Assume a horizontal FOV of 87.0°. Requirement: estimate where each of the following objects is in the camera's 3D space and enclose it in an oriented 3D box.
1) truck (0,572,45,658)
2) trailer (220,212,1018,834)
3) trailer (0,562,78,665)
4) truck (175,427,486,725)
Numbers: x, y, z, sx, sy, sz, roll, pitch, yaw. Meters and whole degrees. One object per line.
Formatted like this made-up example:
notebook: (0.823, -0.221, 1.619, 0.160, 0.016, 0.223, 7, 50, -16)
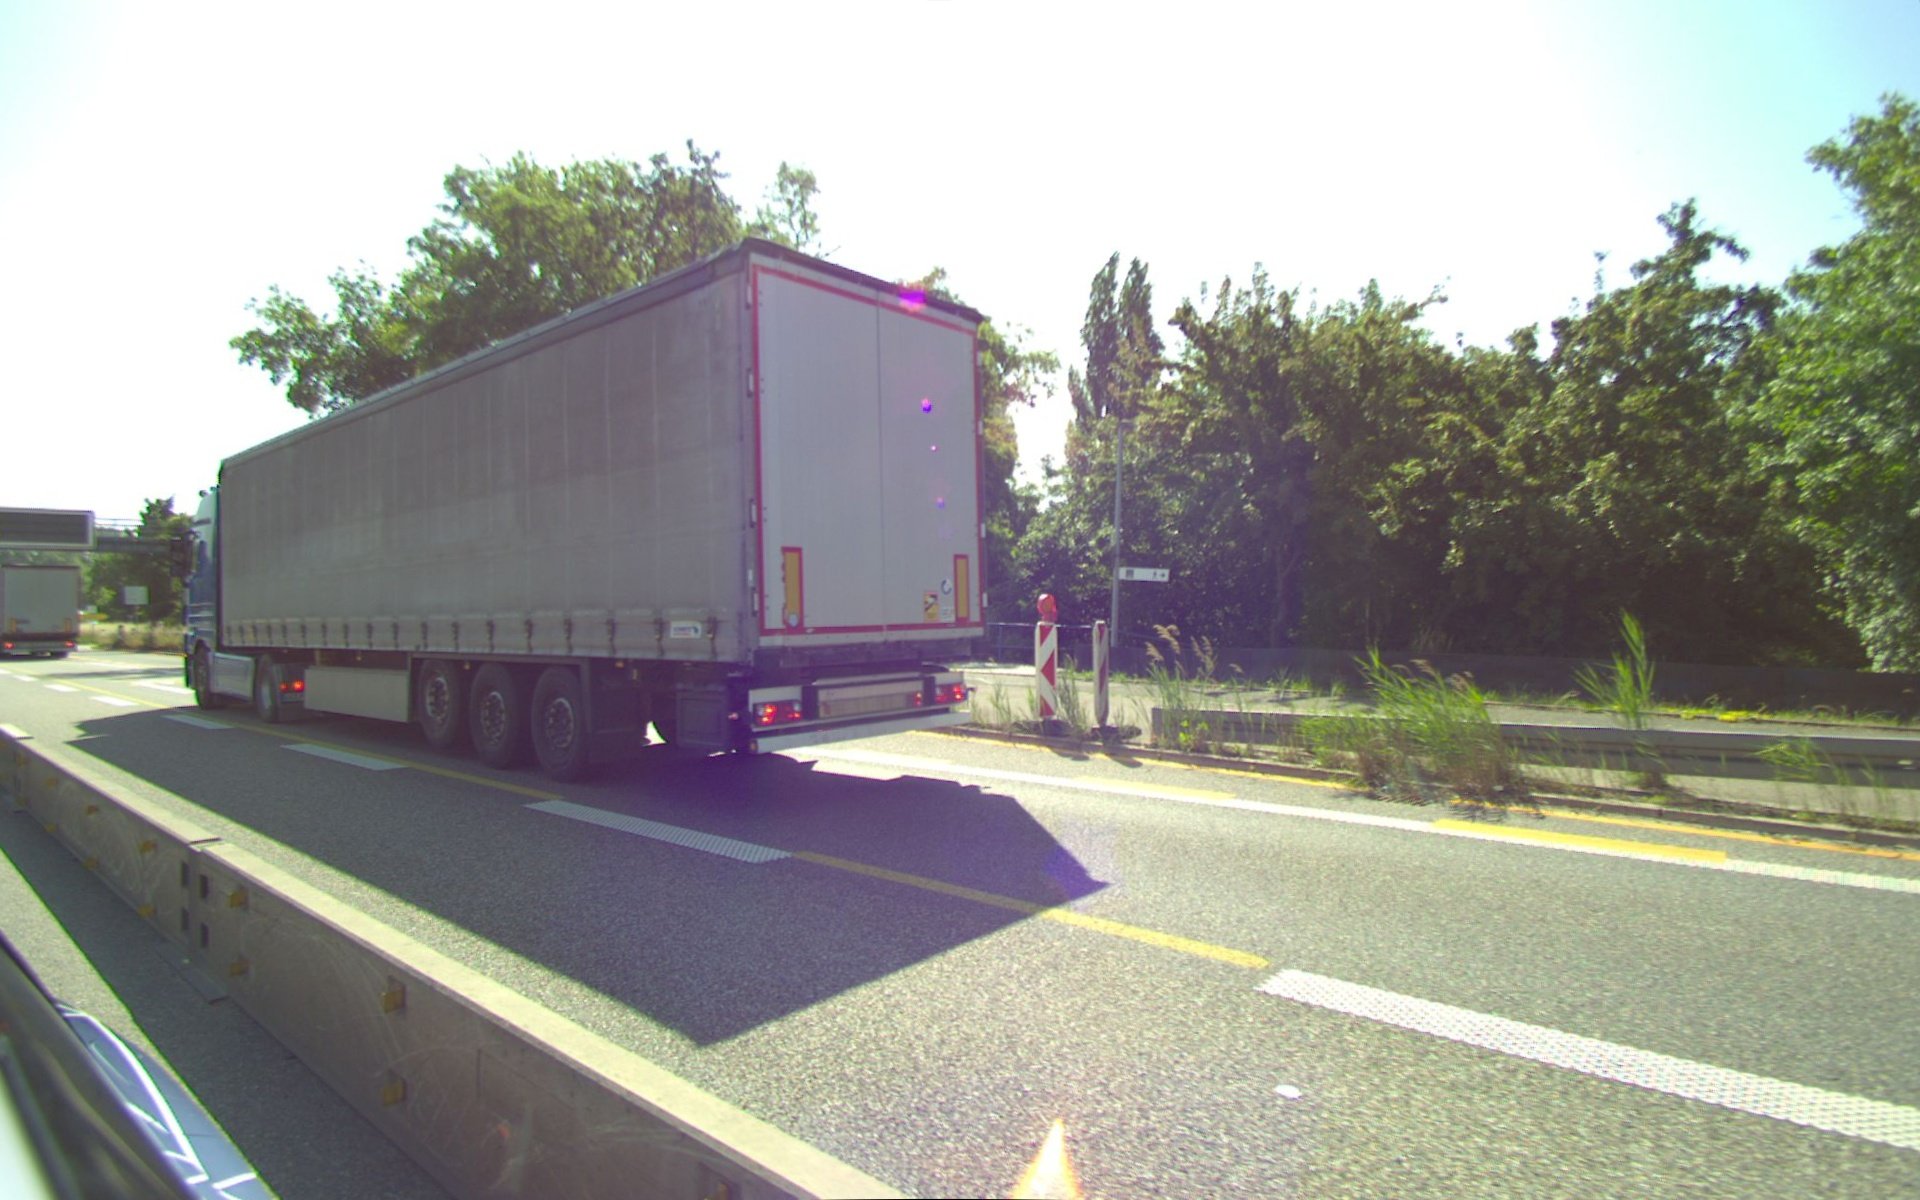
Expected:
truck: (-48.566, 0.794, 51.284, 6.505, 4.159, 2.592, -1, -1, 42)
trailer: (-5.452, -0.346, 12.142, 13.462, 4.074, 2.774, -2, -2, 42)
trailer: (-43.413, 0.657, 46.628, 14.065, 4.159, 2.592, -1, -1, 42)
truck: (-10.523, -0.247, 16.694, 5.983, 4.021, 2.785, -2, -2, 42)
